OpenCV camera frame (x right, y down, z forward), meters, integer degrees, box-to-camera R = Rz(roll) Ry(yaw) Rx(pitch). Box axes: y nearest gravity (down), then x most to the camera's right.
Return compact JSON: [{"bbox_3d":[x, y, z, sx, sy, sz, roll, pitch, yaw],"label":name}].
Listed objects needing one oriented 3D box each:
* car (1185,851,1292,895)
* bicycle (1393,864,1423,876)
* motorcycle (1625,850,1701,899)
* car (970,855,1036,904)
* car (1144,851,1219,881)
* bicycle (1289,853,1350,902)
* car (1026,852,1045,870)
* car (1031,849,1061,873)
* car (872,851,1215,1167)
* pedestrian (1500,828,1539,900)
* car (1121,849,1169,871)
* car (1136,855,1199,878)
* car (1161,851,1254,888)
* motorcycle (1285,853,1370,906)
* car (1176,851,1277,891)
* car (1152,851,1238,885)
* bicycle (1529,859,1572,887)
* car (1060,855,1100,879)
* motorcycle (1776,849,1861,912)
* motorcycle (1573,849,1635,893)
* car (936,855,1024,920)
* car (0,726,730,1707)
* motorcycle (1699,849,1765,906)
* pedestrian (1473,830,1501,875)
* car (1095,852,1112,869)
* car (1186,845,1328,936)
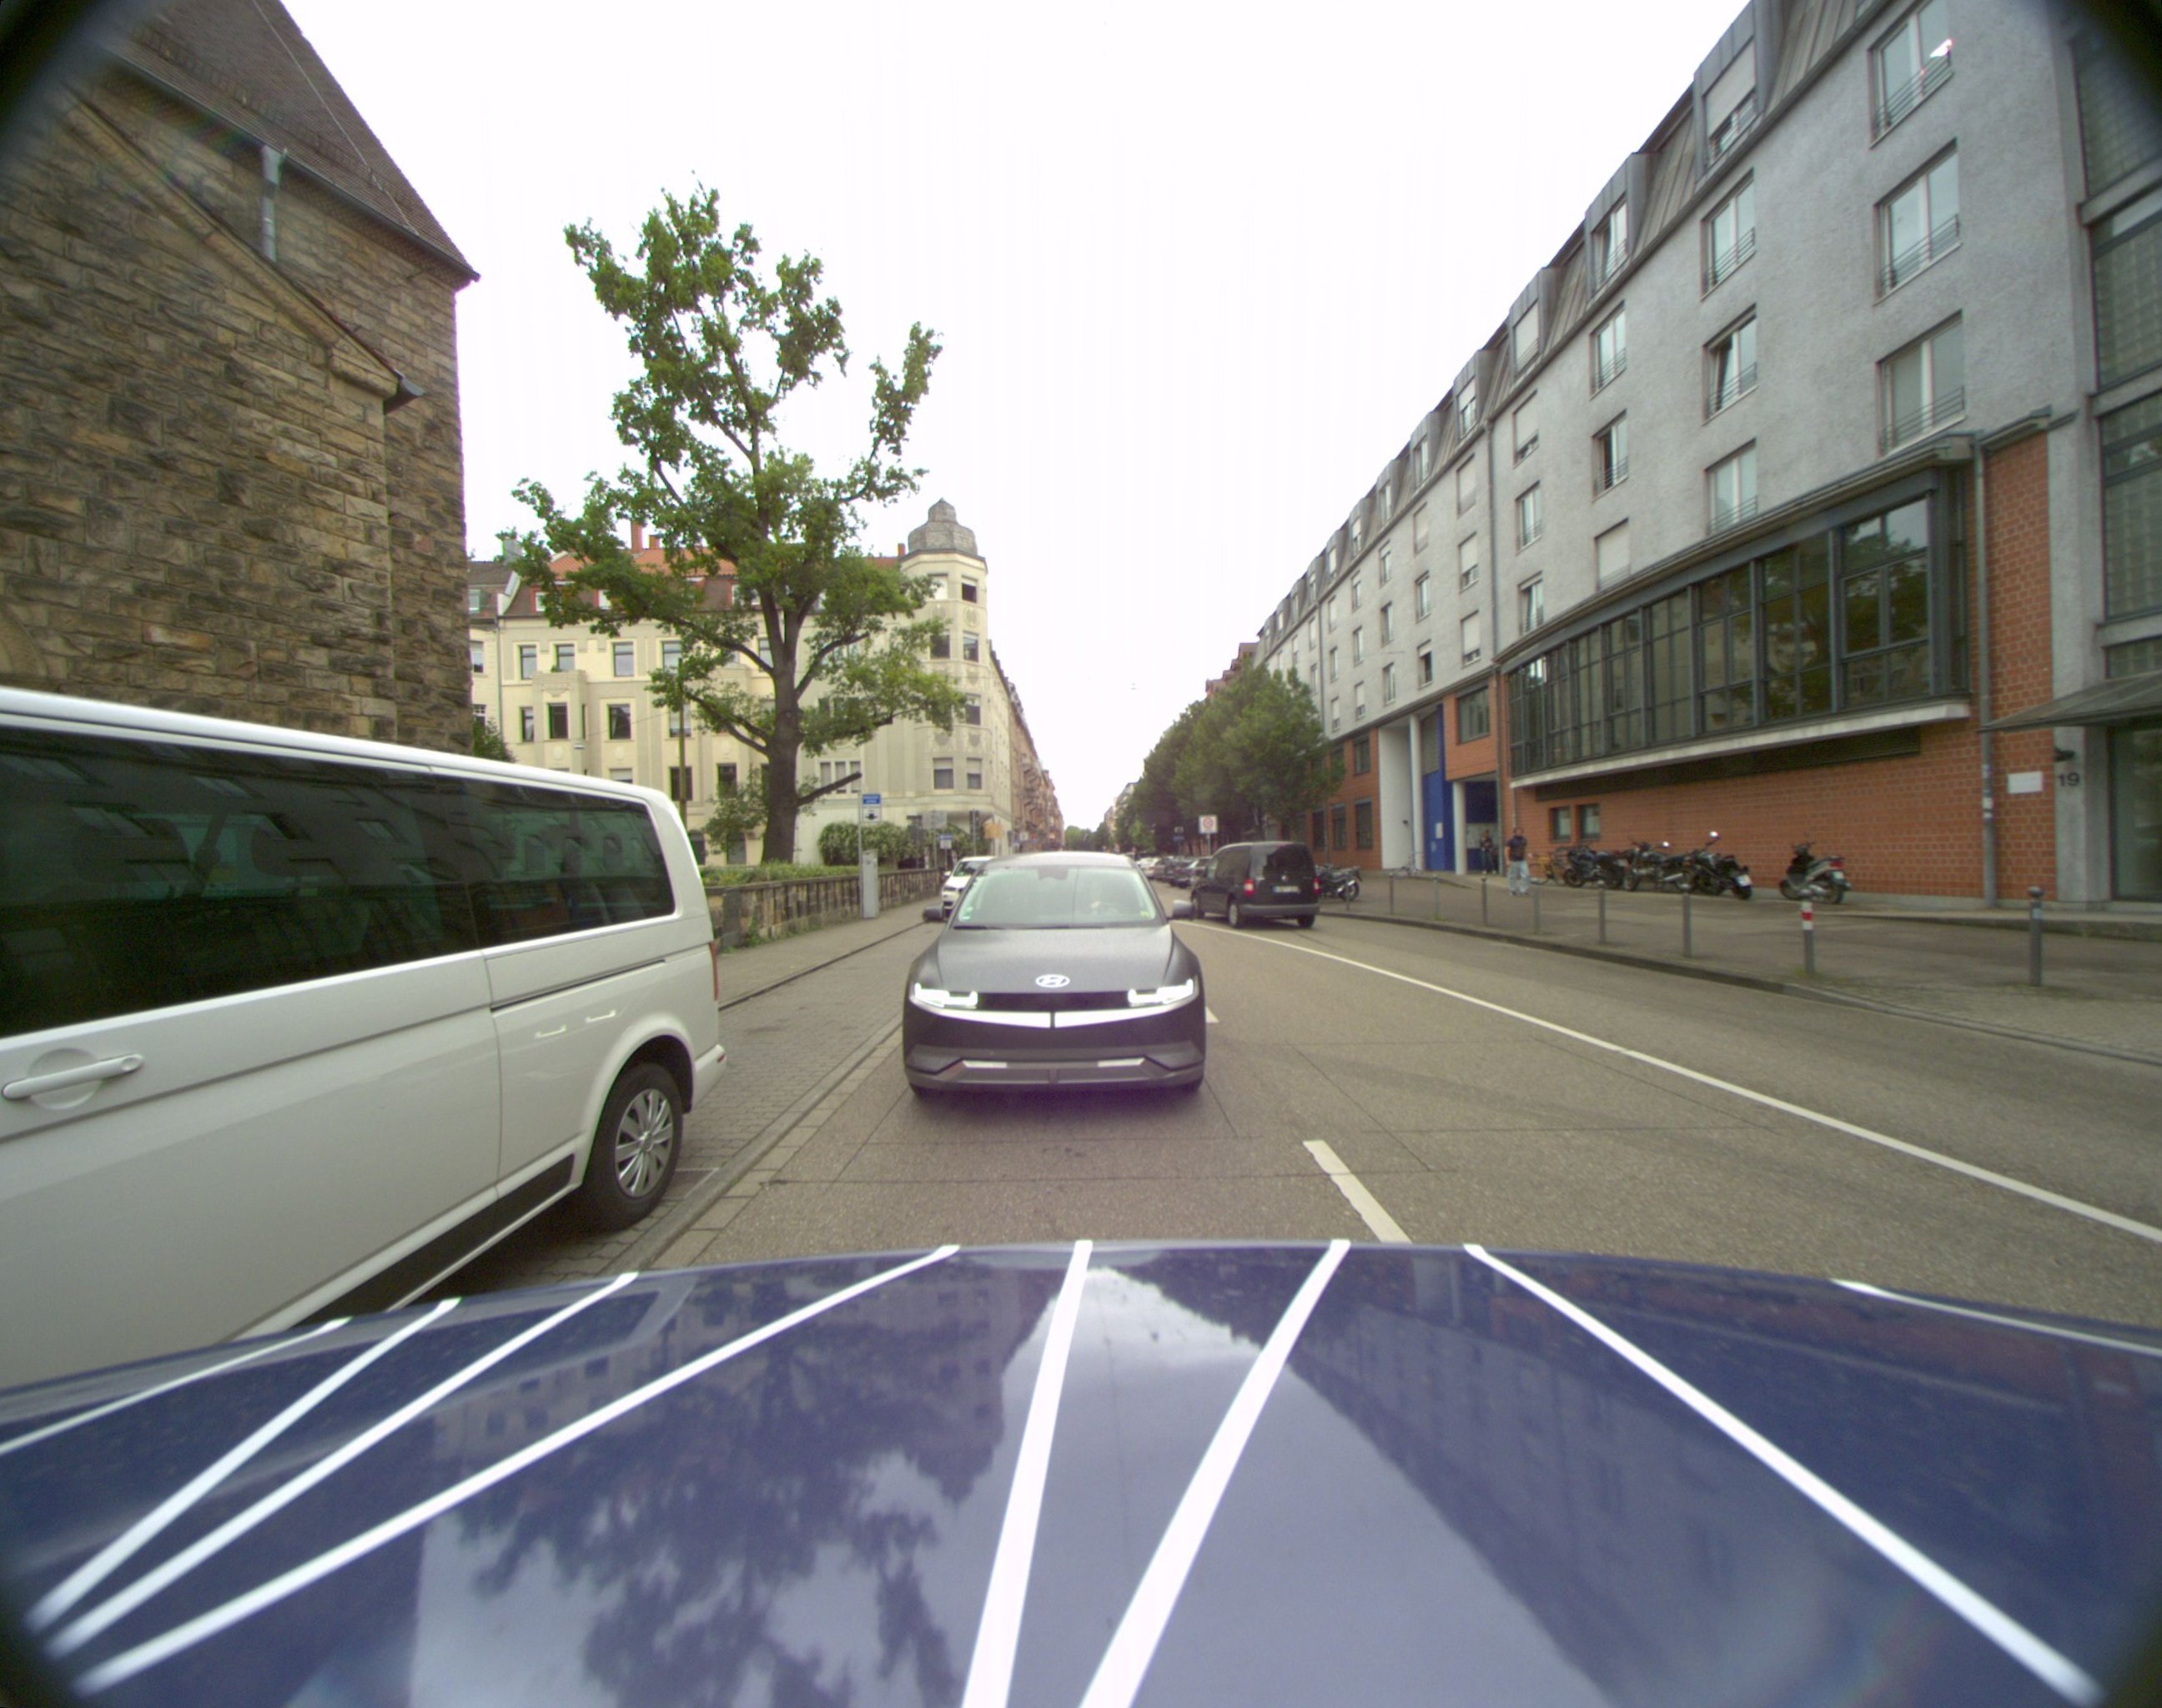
[{"bbox_3d":[6.508,0.744,31.445,4.004,1.619,1.769,-2,0,-22],"label":"car"},{"bbox_3d":[13.388,0.658,31.095,1.010,0.434,0.527,-2,2,2],"label":"bicycle"},{"bbox_3d":[13.644,0.456,17.861,0.446,1.091,1.763,-2,0,1],"label":"motorcycle"},{"bbox_3d":[-2.700,0.848,27.125,1.820,1.556,4.000,-2,0,1],"label":"car"},{"bbox_3d":[6.057,0.711,46.039,4.004,1.619,1.996,-2,0,-22],"label":"car"},{"bbox_3d":[7.106,0.686,22.660,1.630,1.345,0.416,-3,1,-1],"label":"bicycle"},{"bbox_3d":[-3.948,0.589,66.334,1.336,1.462,2.857,-2,1,1],"label":"car"},{"bbox_3d":[-2.417,0.462,53.667,1.820,1.556,4.000,-2,0,1],"label":"car"},{"bbox_3d":[-0.176,0.847,6.132,1.820,1.675,4.000,-2,0,1],"label":"car"},{"bbox_3d":[11.322,0.254,19.638,0.621,1.812,0.642,-2,1,1],"label":"pedestrian"},{"bbox_3d":[6.075,0.572,72.337,4.004,1.897,1.996,-2,0,-22],"label":"car"},{"bbox_3d":[6.001,0.860,52.676,4.004,1.488,1.735,-2,0,-22],"label":"car"},{"bbox_3d":[6.201,0.722,37.323,4.004,1.619,1.996,-2,0,-22],"label":"car"},{"bbox_3d":[6.952,0.716,21.492,2.124,1.345,0.599,-3,1,1],"label":"motorcycle"},{"bbox_3d":[6.521,0.734,34.105,4.004,1.619,1.996,-2,0,-22],"label":"car"},{"bbox_3d":[6.012,0.709,40.093,4.004,1.619,1.996,-2,0,-22],"label":"car"},{"bbox_3d":[13.851,0.552,22.453,0.336,0.782,1.581,-2,0,1],"label":"bicycle"},{"bbox_3d":[-0.139,0.931,56.070,1.913,1.597,4.245,-2,0,-15],"label":"car"},{"bbox_3d":[13.512,0.453,13.967,0.445,1.091,1.765,-1,0,21],"label":"motorcycle"},{"bbox_3d":[13.640,0.433,19.869,0.446,1.091,1.763,-2,0,1],"label":"motorcycle"},{"bbox_3d":[-2.693,0.849,21.115,1.820,1.556,4.000,-2,0,1],"label":"car"},{"bbox_3d":[-2.778,0.753,1.450,1.810,1.908,5.163,-2,0,-1],"label":"car"},{"bbox_3d":[13.310,0.462,15.583,0.445,1.091,1.765,-1,0,21],"label":"motorcycle"},{"bbox_3d":[15.248,-0.061,28.526,0.686,1.640,0.622,-2,1,2],"label":"pedestrian"},{"bbox_3d":[2.700,0.750,91.057,1.998,1.897,4.000,-2,0,1],"label":"car"},{"bbox_3d":[3.810,0.730,17.225,1.699,1.793,4.126,-1,0,-9],"label":"car"}]
